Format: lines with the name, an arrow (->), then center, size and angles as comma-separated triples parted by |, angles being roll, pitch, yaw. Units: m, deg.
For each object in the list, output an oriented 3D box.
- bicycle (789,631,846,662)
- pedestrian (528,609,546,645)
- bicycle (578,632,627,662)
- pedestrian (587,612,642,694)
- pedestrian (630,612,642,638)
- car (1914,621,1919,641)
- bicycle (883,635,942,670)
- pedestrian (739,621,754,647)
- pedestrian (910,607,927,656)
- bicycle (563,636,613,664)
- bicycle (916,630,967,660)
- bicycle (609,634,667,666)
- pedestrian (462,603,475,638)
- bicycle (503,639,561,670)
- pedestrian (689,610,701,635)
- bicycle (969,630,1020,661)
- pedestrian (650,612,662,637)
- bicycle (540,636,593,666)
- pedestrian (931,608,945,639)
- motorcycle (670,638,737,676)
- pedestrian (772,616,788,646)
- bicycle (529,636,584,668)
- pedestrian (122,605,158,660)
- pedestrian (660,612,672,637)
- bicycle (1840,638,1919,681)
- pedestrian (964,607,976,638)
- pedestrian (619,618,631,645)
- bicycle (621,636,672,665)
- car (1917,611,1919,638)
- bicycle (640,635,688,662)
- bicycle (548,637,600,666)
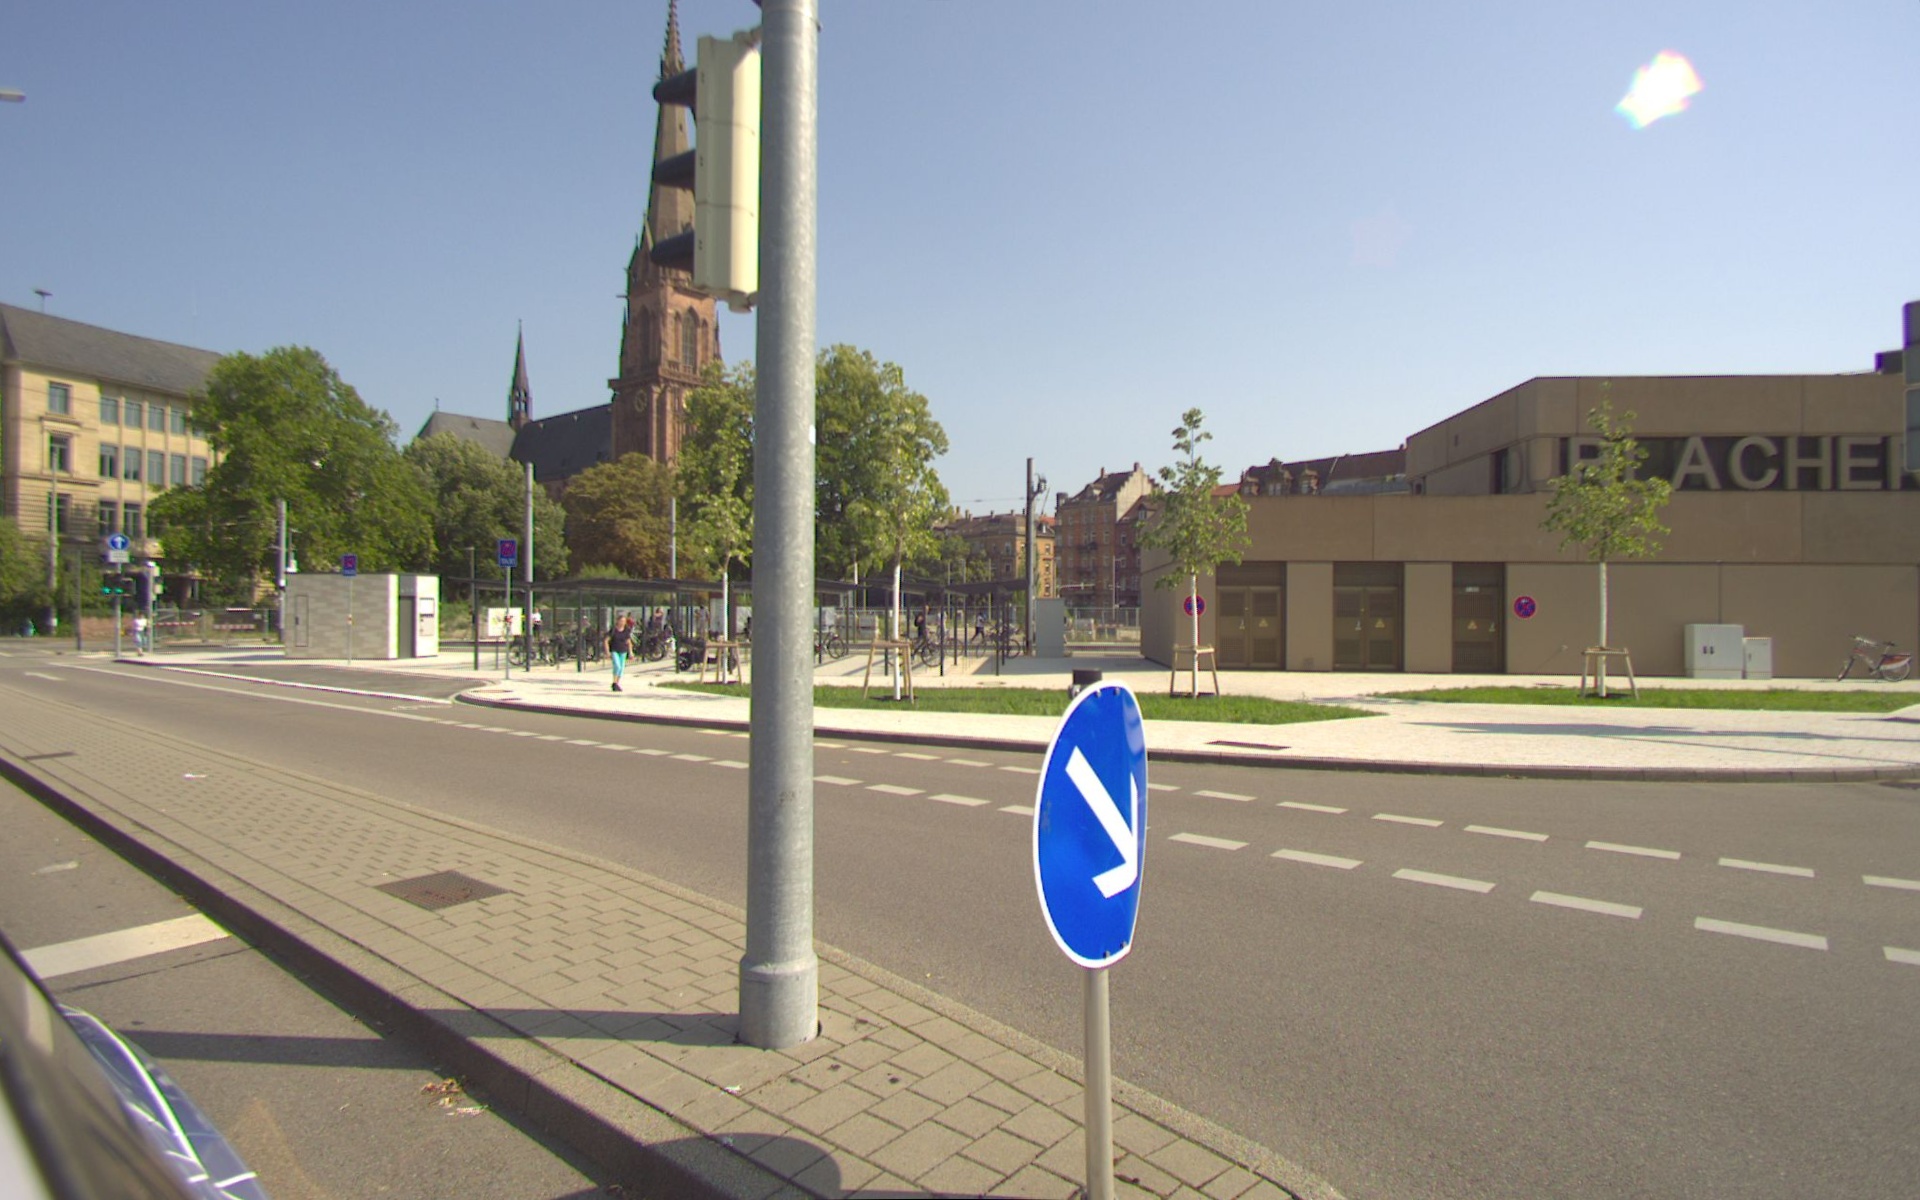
bicycle -> -4.796, 1.562, 34.099 | 1.852, 1.017, 0.461 | 0, -1, 7
pedestrian -> -20.638, 1.311, 49.351 | 0.388, 1.762, 0.708 | -1, -1, 38
bicycle -> -12.274, 1.620, 34.767 | 1.569, 0.985, 0.451 | 0, 0, 7
pedestrian -> -6.805, 1.038, 19.942 | 0.663, 1.577, 0.748 | 0, -2, 23
pedestrian -> -16.052, 1.245, 50.083 | 0.378, 1.233, 0.439 | -1, 1, 7
car -> 69.635, 2.213, 71.004 | 1.561, 1.404, 3.757 | 1, -1, -38
bicycle -> -1.413, 1.557, 30.066 | 1.724, 1.017, 0.400 | 0, -1, 7
pedestrian -> -10.221, 1.620, 48.447 | 0.567, 1.206, 0.467 | 0, -1, 7
pedestrian -> -1.513, 1.151, 37.042 | 0.584, 1.815, 0.333 | 0, -1, 2
bicycle -> -12.306, 1.638, 33.485 | 1.569, 0.899, 0.400 | 0, -1, 7
bicycle -> -0.646, 1.552, 35.191 | 1.724, 1.017, 0.400 | 0, -1, 7
bicycle -> -10.280, 1.591, 32.297 | 1.693, 0.994, 0.532 | 0, -1, 7
pedestrian -> -23.694, 0.988, 48.805 | 0.510, 1.720, 0.505 | 1, -1, -26
bicycle -> -12.672, 1.606, 29.966 | 1.569, 0.899, 0.400 | 0, -1, 7
pedestrian -> -13.233, 1.119, 50.517 | 0.378, 1.233, 0.439 | -1, 1, 7
bicycle -> 1.201, 1.557, 34.821 | 1.722, 1.028, 0.473 | 0, -1, 5
pedestrian -> -15.206, 1.213, 50.615 | 0.378, 1.233, 0.439 | -1, 1, 7
bicycle -> -12.387, 1.604, 31.871 | 1.569, 0.899, 0.400 | 0, -1, 7
pedestrian -> -1.055, 1.090, 47.887 | 0.562, 1.432, 0.468 | -1, 1, 7
motorcycle -> -7.132, 1.573, 28.180 | 1.724, 1.017, 0.542 | 0, -1, 7
pedestrian -> -8.558, 1.454, 48.171 | 0.635, 1.405, 0.661 | 0, -1, 4
bicycle -> -12.435, 1.590, 31.173 | 1.569, 0.974, 0.421 | 0, -1, 7
pedestrian -> -30.833, 1.211, 38.057 | 0.724, 2.029, 0.713 | 0, -1, 3
pedestrian -> -14.610, 1.200, 50.274 | 0.378, 1.233, 0.439 | -1, 1, 7
bicycle -> 22.072, 1.400, 24.101 | 1.592, 0.963, 0.660 | 0, 1, 5
pedestrian -> 0.484, 1.039, 47.239 | 0.464, 1.432, 0.567 | -1, 1, 8
pedestrian -> -16.592, 1.553, 50.122 | 0.410, 1.328, 0.392 | -1, 1, 11
bicycle -> -10.268, 1.652, 33.139 | 1.569, 0.899, 0.409 | 0, -1, 7
car -> 74.344, 1.831, 74.437 | 1.968, 2.029, 5.571 | 1, -1, -39
bicycle -> -10.137, 1.643, 34.659 | 1.569, 0.899, 0.409 | 0, -1, 7
bicycle -> -12.364, 1.642, 32.435 | 1.569, 0.899, 0.409 | 0, -1, 7
